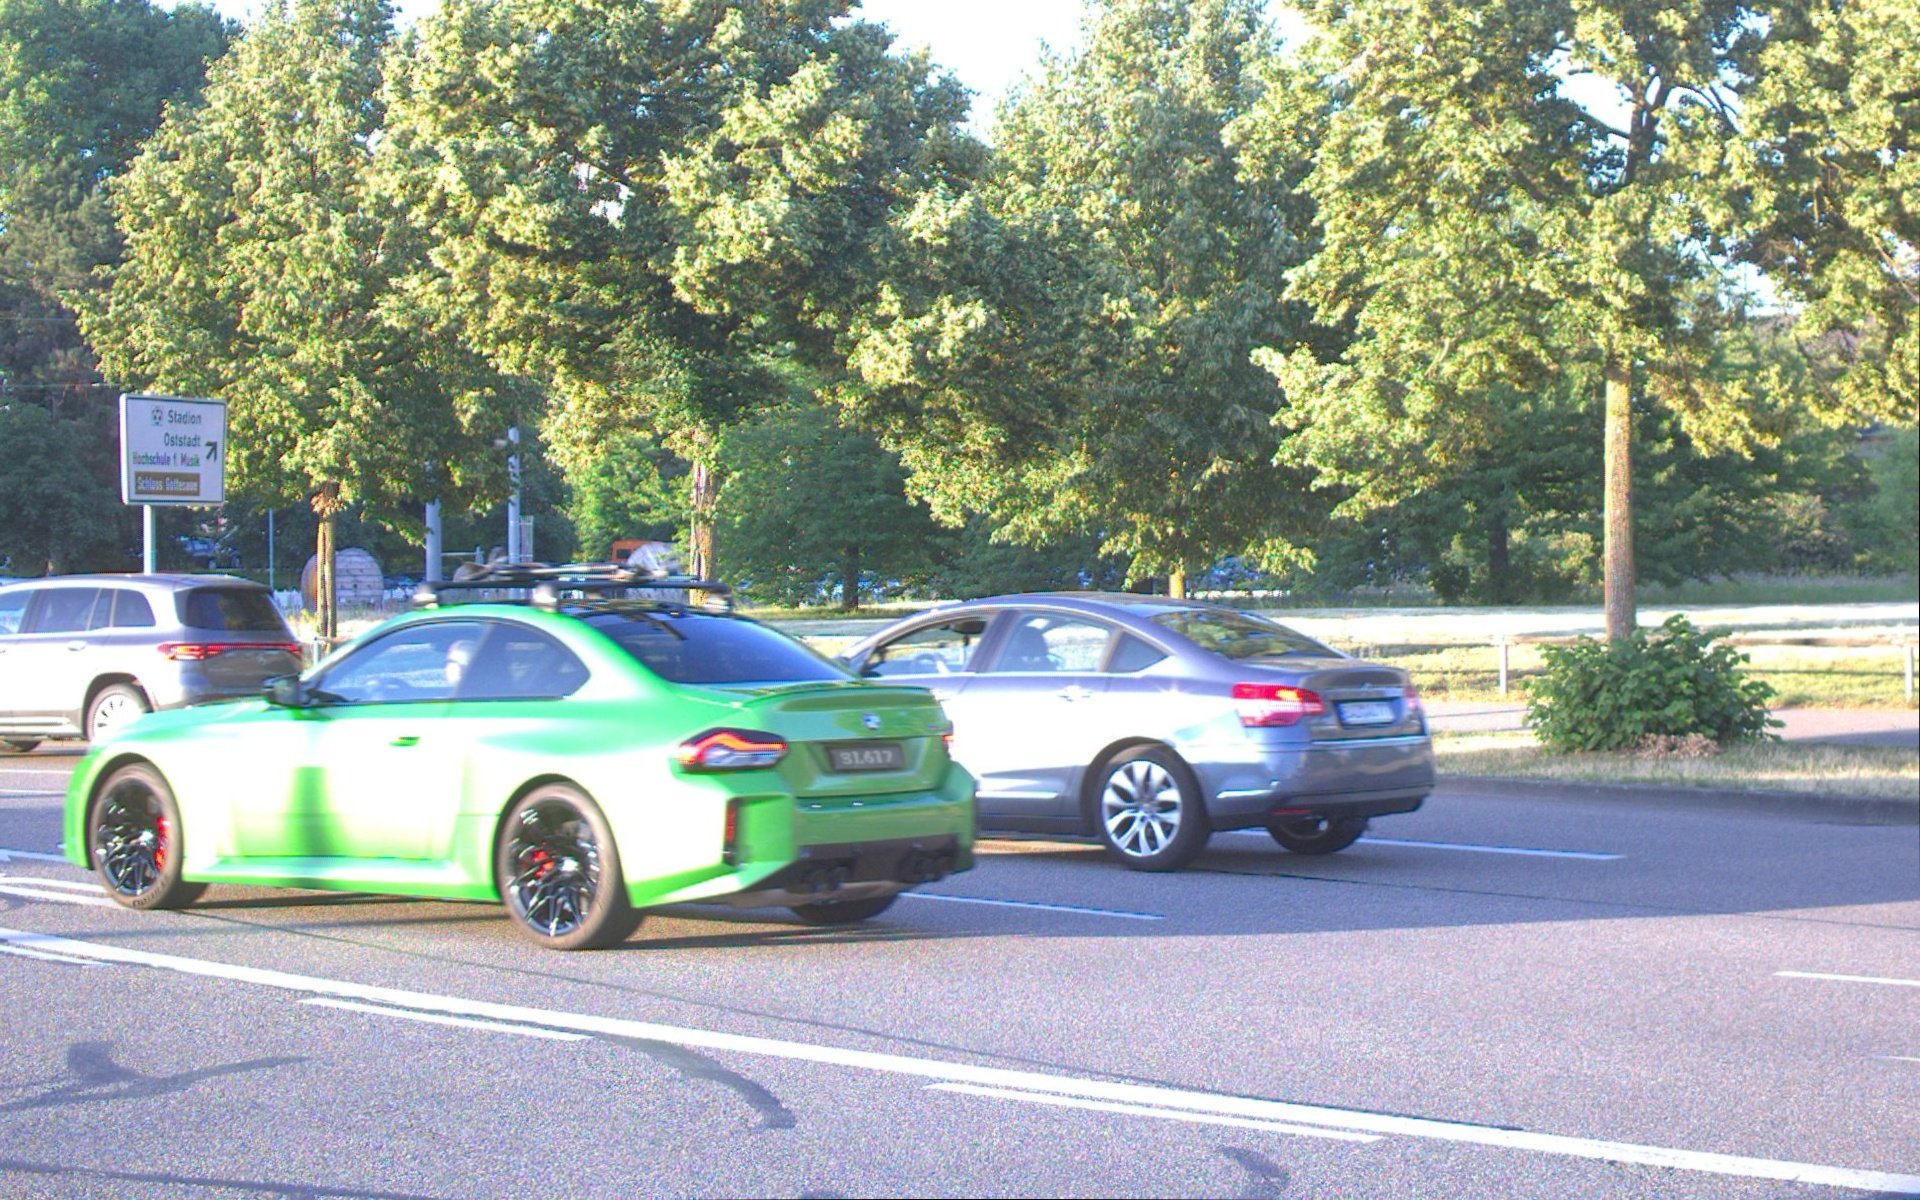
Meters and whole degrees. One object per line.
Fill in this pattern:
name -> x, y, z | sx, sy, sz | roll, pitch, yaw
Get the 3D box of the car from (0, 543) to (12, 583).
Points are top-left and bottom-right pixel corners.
car -> -42.416, -1.569, 145.364 | 3.988, 1.700, 2.000 | 0, 1, 7

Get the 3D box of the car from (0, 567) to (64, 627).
car -> -33.151, -0.087, 117.674 | 4.582, 2.007, 2.001 | -1, 1, -9

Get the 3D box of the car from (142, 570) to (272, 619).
car -> -25.374, -0.199, 115.825 | 3.994, 1.598, 1.996 | 0, 1, 33

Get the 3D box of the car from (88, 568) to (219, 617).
car -> -26.778, -0.254, 114.095 | 3.994, 1.598, 1.996 | 0, 1, 33

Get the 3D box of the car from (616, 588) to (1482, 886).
car -> 0.425, 0.681, 19.450 | 4.665, 1.459, 1.883 | 0, 1, 37

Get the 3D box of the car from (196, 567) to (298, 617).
car -> -26.822, -0.313, 129.304 | 1.994, 1.746, 4.597 | -1, 2, -37

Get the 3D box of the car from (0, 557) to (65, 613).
car -> -35.236, -0.544, 125.807 | 4.582, 2.007, 2.001 | -1, 1, -9

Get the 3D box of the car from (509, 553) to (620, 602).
car -> -13.232, -0.768, 114.884 | 1.734, 1.612, 3.998 | -1, 1, -41

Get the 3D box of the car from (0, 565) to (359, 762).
car -> -7.826, 0.520, 30.820 | 4.518, 1.632, 1.997 | 0, 1, 28

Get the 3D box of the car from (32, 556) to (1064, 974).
car -> -1.927, 0.606, 15.271 | 4.481, 1.573, 1.995 | 0, 1, 39
